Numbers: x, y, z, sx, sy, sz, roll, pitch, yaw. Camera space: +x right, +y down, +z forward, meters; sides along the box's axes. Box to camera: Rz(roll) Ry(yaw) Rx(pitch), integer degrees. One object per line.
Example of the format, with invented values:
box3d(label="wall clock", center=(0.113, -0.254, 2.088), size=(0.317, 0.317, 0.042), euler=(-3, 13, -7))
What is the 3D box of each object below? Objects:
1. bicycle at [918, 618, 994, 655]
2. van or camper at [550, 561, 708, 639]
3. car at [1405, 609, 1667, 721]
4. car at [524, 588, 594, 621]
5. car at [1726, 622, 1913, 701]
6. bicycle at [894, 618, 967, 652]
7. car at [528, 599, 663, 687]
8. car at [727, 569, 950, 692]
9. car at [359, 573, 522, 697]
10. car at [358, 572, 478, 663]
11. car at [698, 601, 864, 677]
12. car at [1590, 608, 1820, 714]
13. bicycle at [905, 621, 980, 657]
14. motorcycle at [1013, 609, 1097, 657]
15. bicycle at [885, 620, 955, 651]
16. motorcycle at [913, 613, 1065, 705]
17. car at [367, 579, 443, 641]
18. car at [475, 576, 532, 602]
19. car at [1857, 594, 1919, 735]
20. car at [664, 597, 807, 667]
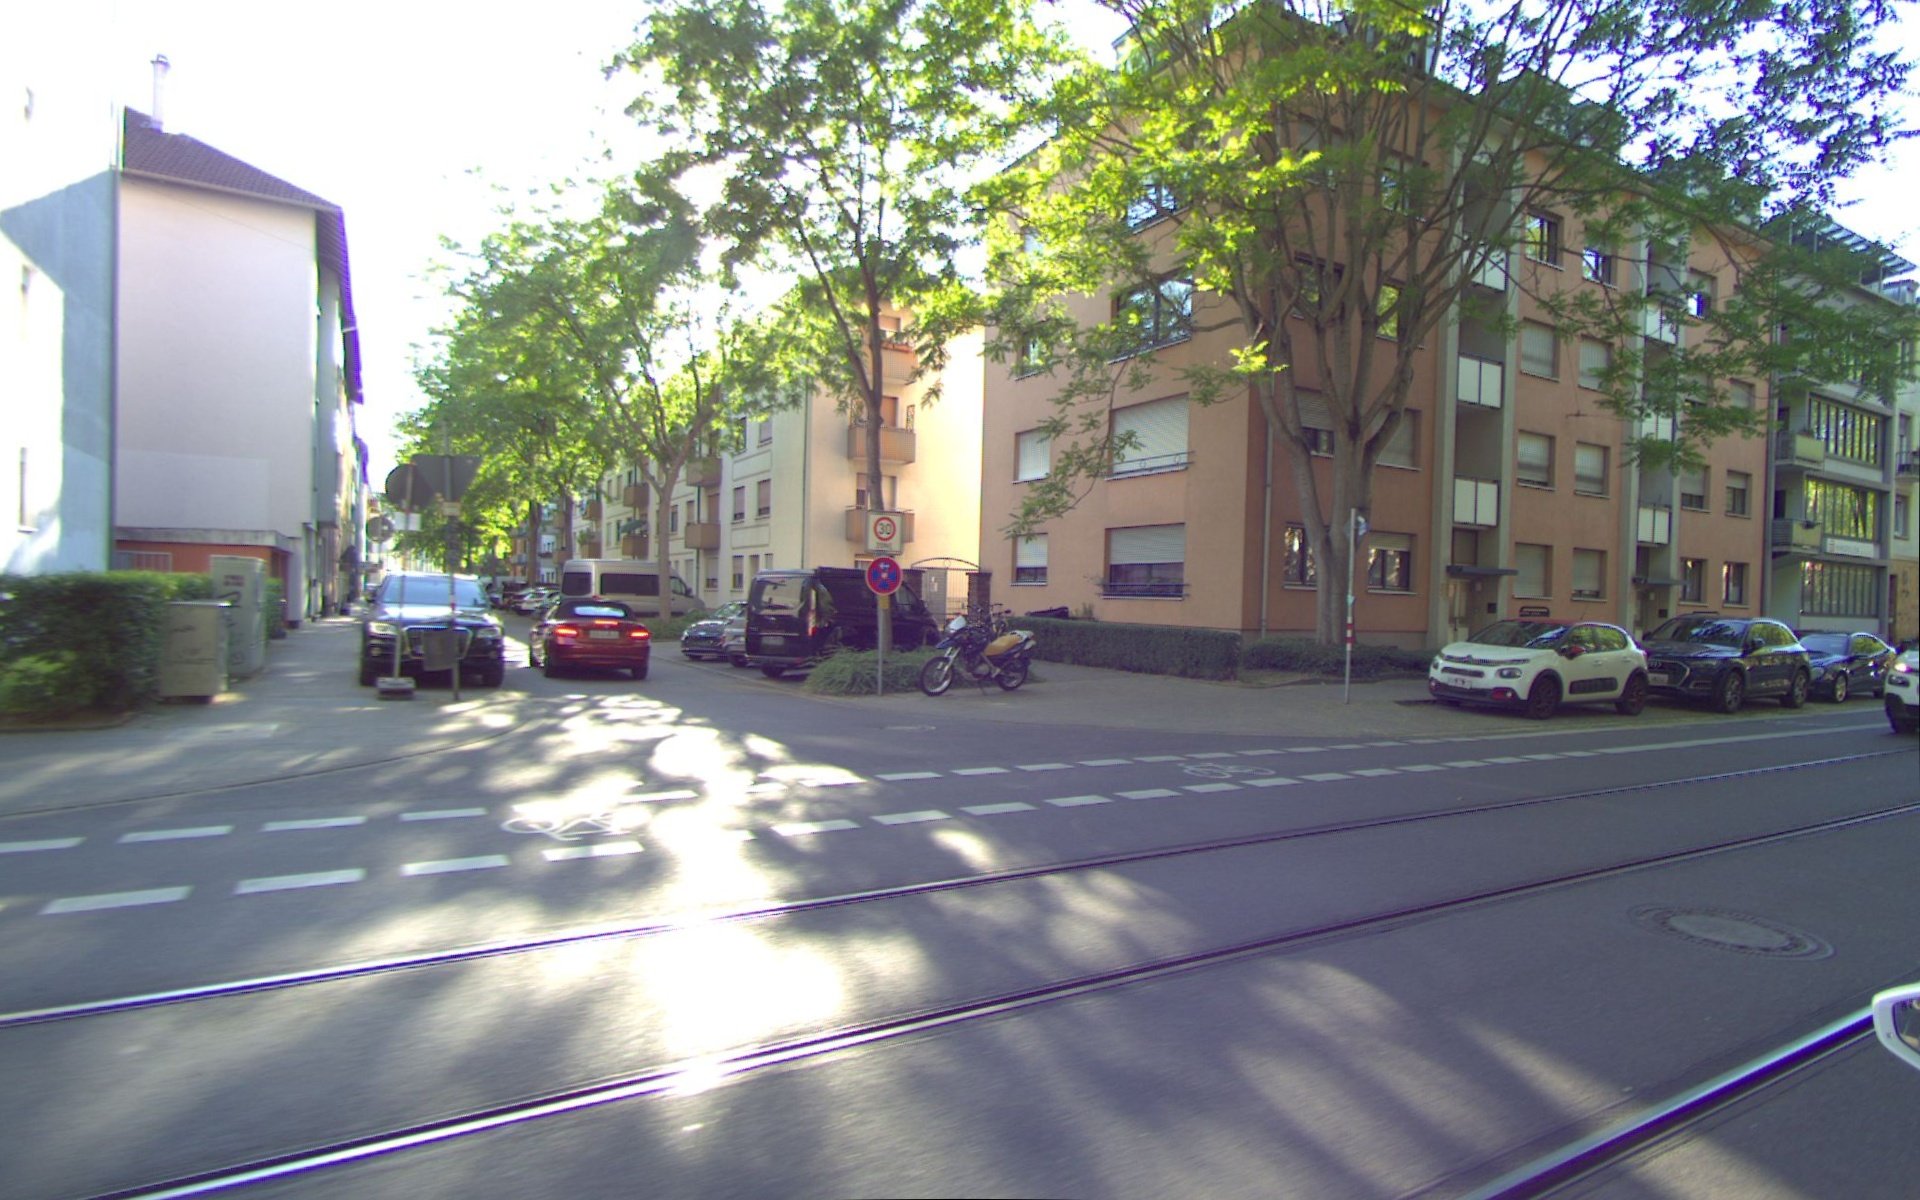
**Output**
box3d(label="bicycle", center=(-0.096, 0.917, 25.293), size=(1.848, 0.883, 0.605), euler=(1, 0, -31))
box3d(label="van or camper", center=(-12.098, 0.023, 37.185), size=(2.217, 2.664, 5.540), euler=(1, 0, 28))
box3d(label="car", center=(9.295, 0.987, 16.165), size=(4.041, 1.498, 1.798), euler=(2, 2, -30))
box3d(label="car", center=(-25.899, 0.318, 64.996), size=(1.793, 2.040, 3.995), euler=(1, 0, 27))
box3d(label="car", center=(18.289, 1.240, 21.331), size=(4.333, 1.420, 1.729), euler=(1, 2, -32))
box3d(label="bicycle", center=(-0.771, 0.923, 26.436), size=(1.848, 0.862, 0.637), euler=(1, 0, -31))
box3d(label="car", center=(-7.002, 0.746, 19.021), size=(1.776, 1.407, 4.204), euler=(3, 0, -28))
box3d(label="car", center=(-2.299, 0.554, 20.380), size=(1.965, 2.152, 4.712), euler=(2, 0, 31))
box3d(label="car", center=(-8.112, 0.475, 15.609), size=(1.915, 1.628, 4.512), euler=(3, -1, -29))
box3d(label="car", center=(-11.134, 0.320, 20.634), size=(1.915, 1.628, 4.288), euler=(3, -1, -29))
box3d(label="car", center=(-3.964, 0.834, 22.745), size=(1.723, 1.538, 3.607), euler=(1, 0, 31))
box3d(label="car", center=(13.752, 1.056, 18.482), size=(4.536, 1.632, 1.771), euler=(1, 3, -32))
box3d(label="bicycle", center=(-0.432, 0.999, 25.855), size=(1.848, 0.883, 0.637), euler=(1, 0, -31))
box3d(label="motorcycle", center=(2.339, 0.806, 24.624), size=(2.043, 1.144, 0.691), euler=(1, 0, -31))
box3d(label="bicycle", center=(-1.069, 0.954, 26.952), size=(1.848, 0.784, 0.528), euler=(1, 0, -31))
box3d(label="motorcycle", center=(0.485, 0.896, 16.088), size=(2.323, 1.298, 0.897), euler=(-1, 1, -33))
box3d(label="car", center=(-17.322, 0.276, 31.357), size=(1.893, 1.746, 4.288), euler=(3, -1, -29))
box3d(label="car", center=(-38.210, -0.889, 84.094), size=(1.963, 2.040, 3.995), euler=(1, 0, 27))
box3d(label="car", center=(14.874, 0.904, 14.221), size=(4.839, 1.856, 1.882), euler=(1, 0, -31))
box3d(label="car", center=(-5.480, 0.762, 24.832), size=(1.606, 1.565, 3.312), euler=(2, 0, 31))
